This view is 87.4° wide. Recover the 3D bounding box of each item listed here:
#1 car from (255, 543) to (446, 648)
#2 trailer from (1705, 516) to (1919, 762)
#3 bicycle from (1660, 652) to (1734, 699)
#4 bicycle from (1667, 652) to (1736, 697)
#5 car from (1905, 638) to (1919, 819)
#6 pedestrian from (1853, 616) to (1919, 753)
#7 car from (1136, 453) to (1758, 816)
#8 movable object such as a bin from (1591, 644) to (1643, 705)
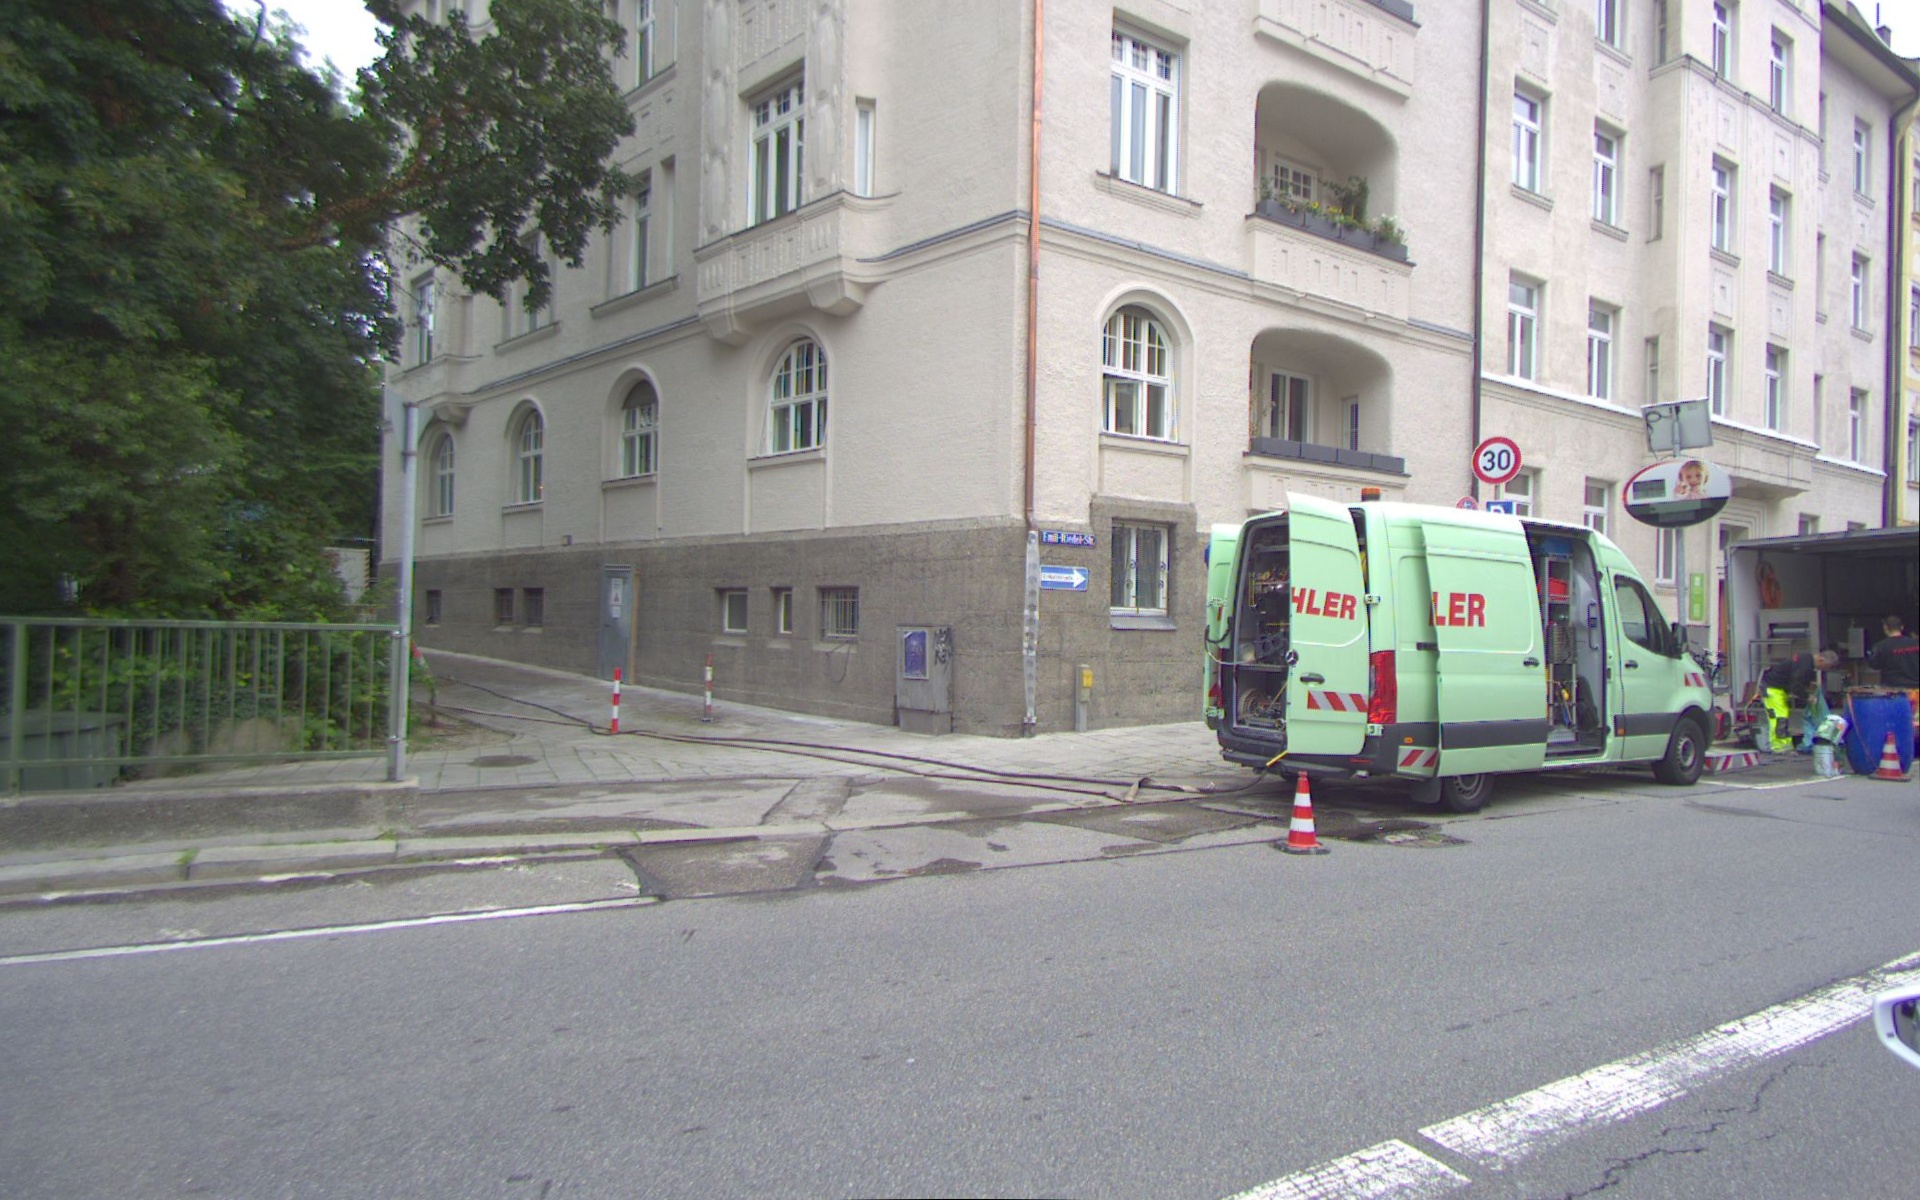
[{"bbox_3d":[-20.078,-0.047,33.287,2.443,3.216,4.790,0,-2,35],"label":"car"},{"bbox_3d":[14.613,0.584,14.882,7.506,3.007,2.793,1,-4,-29],"label":"trailer"},{"bbox_3d":[15.656,1.606,21.338,1.564,0.926,0.394,3,2,-19],"label":"bicycle"},{"bbox_3d":[16.256,1.632,22.013,1.733,0.926,0.414,2,2,-26],"label":"bicycle"},{"bbox_3d":[10.109,1.109,8.485,4.259,1.479,1.783,2,-1,-27],"label":"car"},{"bbox_3d":[11.627,1.032,12.491,0.752,1.652,0.634,0,-2,40],"label":"pedestrian"},{"bbox_3d":[5.033,0.338,9.868,6.715,2.606,2.130,2,-1,-31],"label":"car"},{"bbox_3d":[12.897,1.453,19.733,0.547,1.143,0.669,2,-2,-28],"label":"movable object such as a bin"}]
